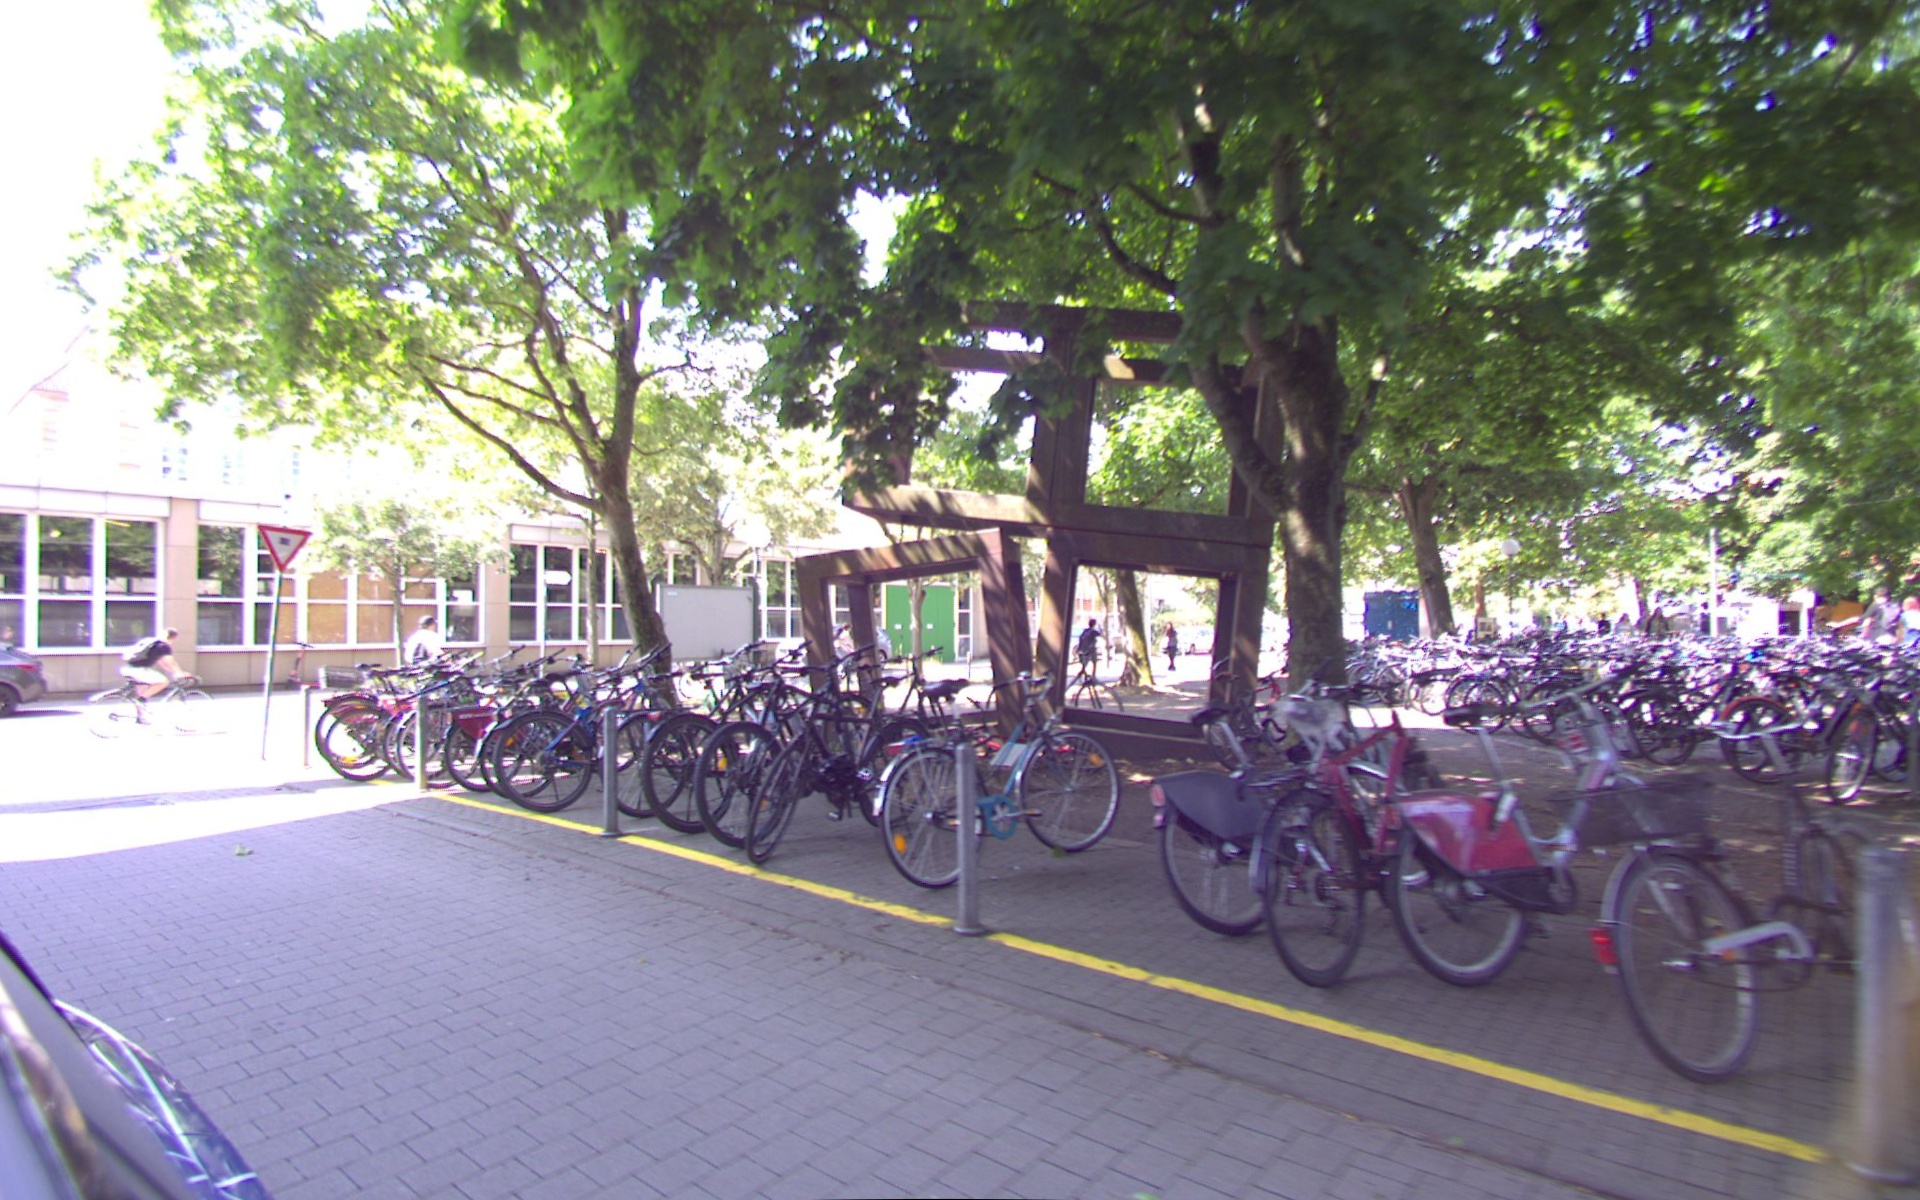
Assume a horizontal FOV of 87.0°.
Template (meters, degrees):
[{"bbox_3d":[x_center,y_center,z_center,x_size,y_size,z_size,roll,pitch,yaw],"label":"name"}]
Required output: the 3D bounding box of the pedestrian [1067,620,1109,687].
[{"bbox_3d":[3.319,1.375,26.254,0.727,1.697,0.863,-2,-3,37],"label":"pedestrian"}]

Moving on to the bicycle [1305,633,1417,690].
[{"bbox_3d":[8.014,1.229,20.292,2.007,1.116,0.501,-1,-1,8],"label":"bicycle"}]

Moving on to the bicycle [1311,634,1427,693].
[{"bbox_3d":[7.931,1.229,19.678,2.007,1.116,0.501,-1,-1,8],"label":"bicycle"}]

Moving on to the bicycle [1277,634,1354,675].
[{"bbox_3d":[10.039,1.538,28.636,2.010,1.116,0.500,-1,-1,14],"label":"bicycle"}]

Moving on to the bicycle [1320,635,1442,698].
[{"bbox_3d":[7.733,1.215,18.641,1.984,1.116,0.501,-1,-1,11],"label":"bicycle"}]

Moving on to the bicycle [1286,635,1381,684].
[{"bbox_3d":[8.744,1.383,23.746,2.010,1.116,0.500,-1,-1,14],"label":"bicycle"}]

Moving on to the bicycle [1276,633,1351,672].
[{"bbox_3d":[10.380,1.553,29.763,2.010,1.116,0.500,-1,-1,14],"label":"bicycle"}]

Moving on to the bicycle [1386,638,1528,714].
[{"bbox_3d":[7.645,1.160,15.628,1.886,1.116,0.501,-1,-1,11],"label":"bicycle"}]

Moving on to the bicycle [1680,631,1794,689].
[{"bbox_3d":[15.028,1.162,19.601,1.682,1.092,0.472,-1,-1,12],"label":"bicycle"}]

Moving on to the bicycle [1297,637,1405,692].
[{"bbox_3d":[8.112,1.336,21.056,2.007,1.116,0.501,-1,-1,8],"label":"bicycle"}]

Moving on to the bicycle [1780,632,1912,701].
[{"bbox_3d":[14.443,1.076,16.519,1.676,1.092,0.474,-1,-1,2],"label":"bicycle"}]

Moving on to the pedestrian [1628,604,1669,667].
[{"bbox_3d":[19.978,1.021,29.389,0.765,1.788,0.900,-1,-1,23],"label":"pedestrian"}]

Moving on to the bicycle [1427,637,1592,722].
[{"bbox_3d":[7.450,1.073,13.773,1.884,1.116,0.501,-1,-1,8],"label":"bicycle"}]

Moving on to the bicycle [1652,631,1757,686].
[{"bbox_3d":[15.289,1.196,20.813,1.682,1.092,0.472,-1,-1,12],"label":"bicycle"}]

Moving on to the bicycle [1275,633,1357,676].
[{"bbox_3d":[9.576,1.463,27.284,2.010,1.116,0.500,-1,-1,14],"label":"bicycle"}]

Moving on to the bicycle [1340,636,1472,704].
[{"bbox_3d":[7.595,1.190,17.293,1.984,1.116,0.501,-1,-1,11],"label":"bicycle"}]

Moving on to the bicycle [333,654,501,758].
[{"bbox_3d":[-6.454,1.240,12.123,1.716,1.116,0.592,-1,-3,-22],"label":"bicycle"}]

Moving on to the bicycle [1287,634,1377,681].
[{"bbox_3d":[9.099,1.399,24.837,2.010,1.116,0.500,-1,-1,14],"label":"bicycle"}]

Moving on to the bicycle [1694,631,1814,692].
[{"bbox_3d":[14.613,1.129,18.658,1.682,1.092,0.472,-1,-1,12],"label":"bicycle"}]

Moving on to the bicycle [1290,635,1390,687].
[{"bbox_3d":[8.458,1.349,22.595,2.010,1.116,0.500,-1,-1,14],"label":"bicycle"}]

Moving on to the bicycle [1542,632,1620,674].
[{"bbox_3d":[16.398,1.401,26.759,1.682,1.092,0.472,-1,-1,12],"label":"bicycle"}]

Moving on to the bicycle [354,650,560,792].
[{"bbox_3d":[-4.532,1.045,9.199,1.606,1.116,0.497,0,-1,-45],"label":"bicycle"}]

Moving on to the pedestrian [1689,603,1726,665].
[{"bbox_3d":[22.123,1.002,29.940,0.769,1.788,0.895,-2,-1,41],"label":"pedestrian"}]

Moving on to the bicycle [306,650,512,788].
[{"bbox_3d":[-5.091,1.055,9.421,1.606,1.116,0.497,0,-1,-45],"label":"bicycle"}]

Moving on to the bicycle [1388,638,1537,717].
[{"bbox_3d":[7.430,1.142,15.020,1.886,1.116,0.501,-1,-1,11],"label":"bicycle"}]

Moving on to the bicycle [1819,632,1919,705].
[{"bbox_3d":[14.428,1.056,15.734,1.676,1.092,0.474,-1,-1,2],"label":"bicycle"}]

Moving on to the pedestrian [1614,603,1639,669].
[{"bbox_3d":[18.267,0.990,27.743,0.501,1.784,0.663,-1,-1,32],"label":"pedestrian"}]

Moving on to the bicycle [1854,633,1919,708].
[{"bbox_3d":[14.505,1.043,15.193,1.676,1.092,0.474,-1,-1,2],"label":"bicycle"}]

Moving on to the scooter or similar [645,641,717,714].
[{"bbox_3d":[-4.728,1.299,17.177,1.165,1.204,0.293,0,-2,-14],"label":"scooter or similar"}]

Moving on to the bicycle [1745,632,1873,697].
[{"bbox_3d":[14.631,1.104,17.462,1.679,1.092,0.473,-1,-1,7],"label":"bicycle"}]

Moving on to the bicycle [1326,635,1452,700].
[{"bbox_3d":[7.620,1.198,18.057,1.984,1.116,0.501,-1,-1,11],"label":"bicycle"}]

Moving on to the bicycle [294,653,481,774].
[{"bbox_3d":[-5.867,1.128,10.443,0.496,1.116,1.608,-4,-4,40],"label":"bicycle"}]

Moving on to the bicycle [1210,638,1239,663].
[{"bbox_3d":[12.261,2.326,46.875,0.603,1.116,2.048,-3,-3,34],"label":"bicycle"}]

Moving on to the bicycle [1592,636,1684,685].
[{"bbox_3d":[15.500,1.373,23.159,1.682,1.092,0.472,-1,-1,12],"label":"bicycle"}]

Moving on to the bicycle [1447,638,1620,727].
[{"bbox_3d":[7.459,1.070,13.226,1.884,1.116,0.501,-1,-1,8],"label":"bicycle"}]

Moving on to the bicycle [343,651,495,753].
[{"bbox_3d":[-6.750,1.251,12.704,1.601,1.168,0.641,-1,-3,-21],"label":"bicycle"}]

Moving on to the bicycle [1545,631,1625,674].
[{"bbox_3d":[16.210,1.358,26.280,1.682,1.092,0.472,-1,-1,12],"label":"bicycle"}]

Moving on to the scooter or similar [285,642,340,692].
[{"bbox_3d":[-16.596,1.698,25.963,0.289,1.235,1.142,-3,-3,43],"label":"scooter or similar"}]

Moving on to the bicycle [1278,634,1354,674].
[{"bbox_3d":[10.276,1.546,29.249,2.010,1.116,0.500,-1,-1,14],"label":"bicycle"}]

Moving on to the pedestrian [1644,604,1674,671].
[{"bbox_3d":[18.862,1.005,27.328,0.608,1.788,0.652,-1,-1,33],"label":"pedestrian"}]

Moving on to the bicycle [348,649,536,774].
[{"bbox_3d":[-5.143,1.076,10.097,1.603,1.116,0.498,0,-4,-38],"label":"bicycle"}]

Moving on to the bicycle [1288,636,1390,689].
[{"bbox_3d":[8.257,1.350,22.092,2.010,1.116,0.500,-1,-1,14],"label":"bicycle"}]

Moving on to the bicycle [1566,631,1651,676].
[{"bbox_3d":[16.120,1.326,25.179,1.682,1.092,0.472,-1,-1,12],"label":"bicycle"}]

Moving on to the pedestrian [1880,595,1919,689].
[{"bbox_3d":[18.664,0.802,19.690,0.763,1.788,0.902,-1,-1,17],"label":"pedestrian"}]

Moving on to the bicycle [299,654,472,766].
[{"bbox_3d":[-6.350,1.180,11.255,0.496,1.116,1.608,-4,-4,40],"label":"bicycle"}]

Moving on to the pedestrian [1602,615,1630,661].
[{"bbox_3d":[26.655,1.533,41.151,0.765,1.816,0.900,-1,-1,23],"label":"pedestrian"}]

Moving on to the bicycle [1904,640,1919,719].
[{"bbox_3d":[14.335,1.112,14.197,1.676,1.092,0.474,-1,-1,2],"label":"bicycle"}]

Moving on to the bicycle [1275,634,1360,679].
[{"bbox_3d":[9.273,1.457,26.287,2.010,1.116,0.500,-1,-1,14],"label":"bicycle"}]

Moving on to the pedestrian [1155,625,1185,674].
[{"bbox_3d":[6.735,1.579,32.465,0.570,1.531,0.829,-2,-1,42],"label":"pedestrian"}]

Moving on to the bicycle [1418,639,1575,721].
[{"bbox_3d":[7.618,1.123,14.433,1.886,1.116,0.501,-1,-1,11],"label":"bicycle"}]

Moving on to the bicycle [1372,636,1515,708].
[{"bbox_3d":[7.695,1.142,16.168,1.984,1.116,0.501,-1,-1,11],"label":"bicycle"}]

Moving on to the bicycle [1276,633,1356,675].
[{"bbox_3d":[9.814,1.484,27.936,2.010,1.116,0.500,-1,-1,14],"label":"bicycle"}]
